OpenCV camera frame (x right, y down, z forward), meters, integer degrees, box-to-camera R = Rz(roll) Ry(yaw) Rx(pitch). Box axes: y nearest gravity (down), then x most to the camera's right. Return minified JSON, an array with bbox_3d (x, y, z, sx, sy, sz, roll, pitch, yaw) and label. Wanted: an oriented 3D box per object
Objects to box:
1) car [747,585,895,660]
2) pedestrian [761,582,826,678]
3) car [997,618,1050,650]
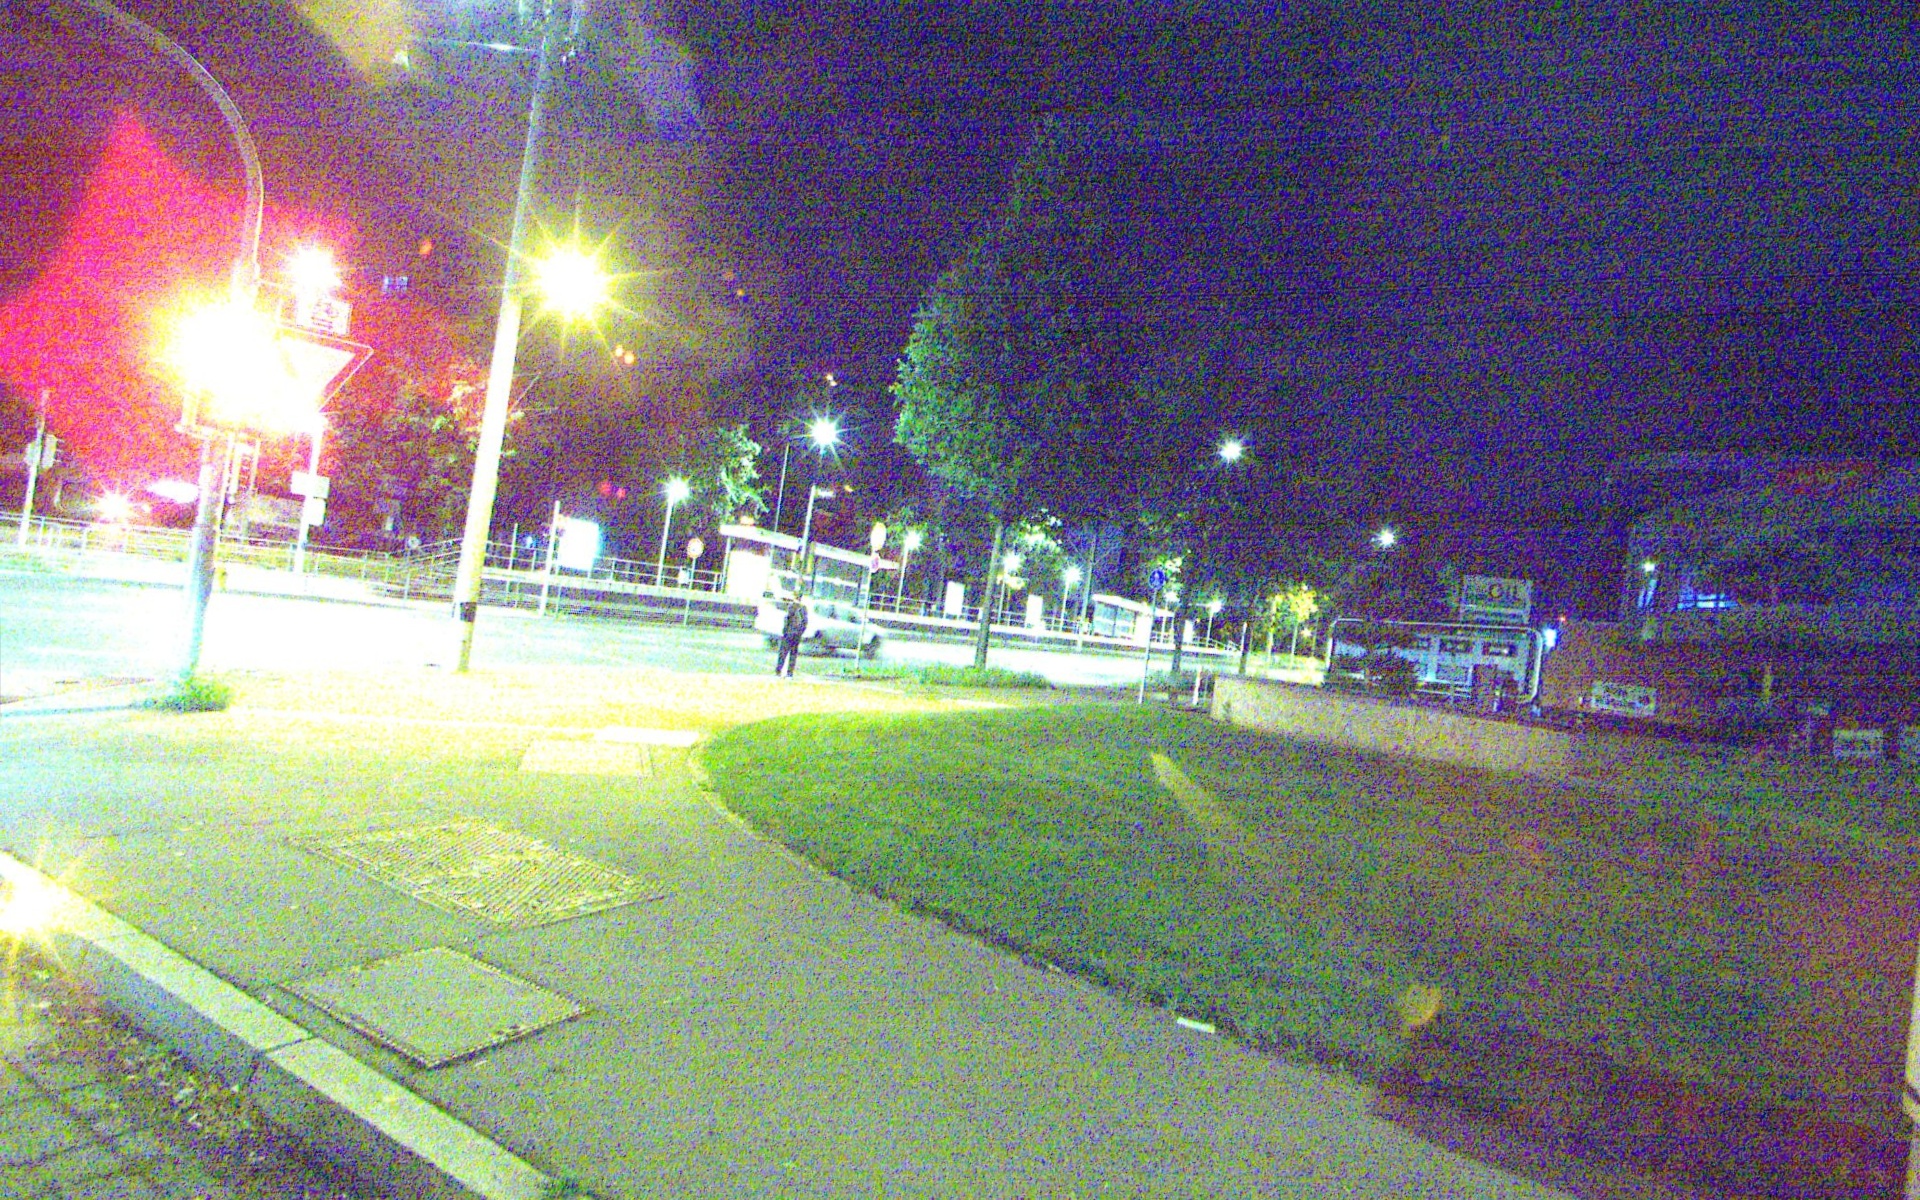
[{"bbox_3d":[-4.010,0.724,29.715,1.844,1.703,4.288,9,0,32],"label":"car"},{"bbox_3d":[-3.237,0.593,19.537,0.820,1.767,0.755,5,1,31],"label":"pedestrian"},{"bbox_3d":[4.701,2.544,74.286,1.970,2.039,3.985,6,0,36],"label":"car"}]
